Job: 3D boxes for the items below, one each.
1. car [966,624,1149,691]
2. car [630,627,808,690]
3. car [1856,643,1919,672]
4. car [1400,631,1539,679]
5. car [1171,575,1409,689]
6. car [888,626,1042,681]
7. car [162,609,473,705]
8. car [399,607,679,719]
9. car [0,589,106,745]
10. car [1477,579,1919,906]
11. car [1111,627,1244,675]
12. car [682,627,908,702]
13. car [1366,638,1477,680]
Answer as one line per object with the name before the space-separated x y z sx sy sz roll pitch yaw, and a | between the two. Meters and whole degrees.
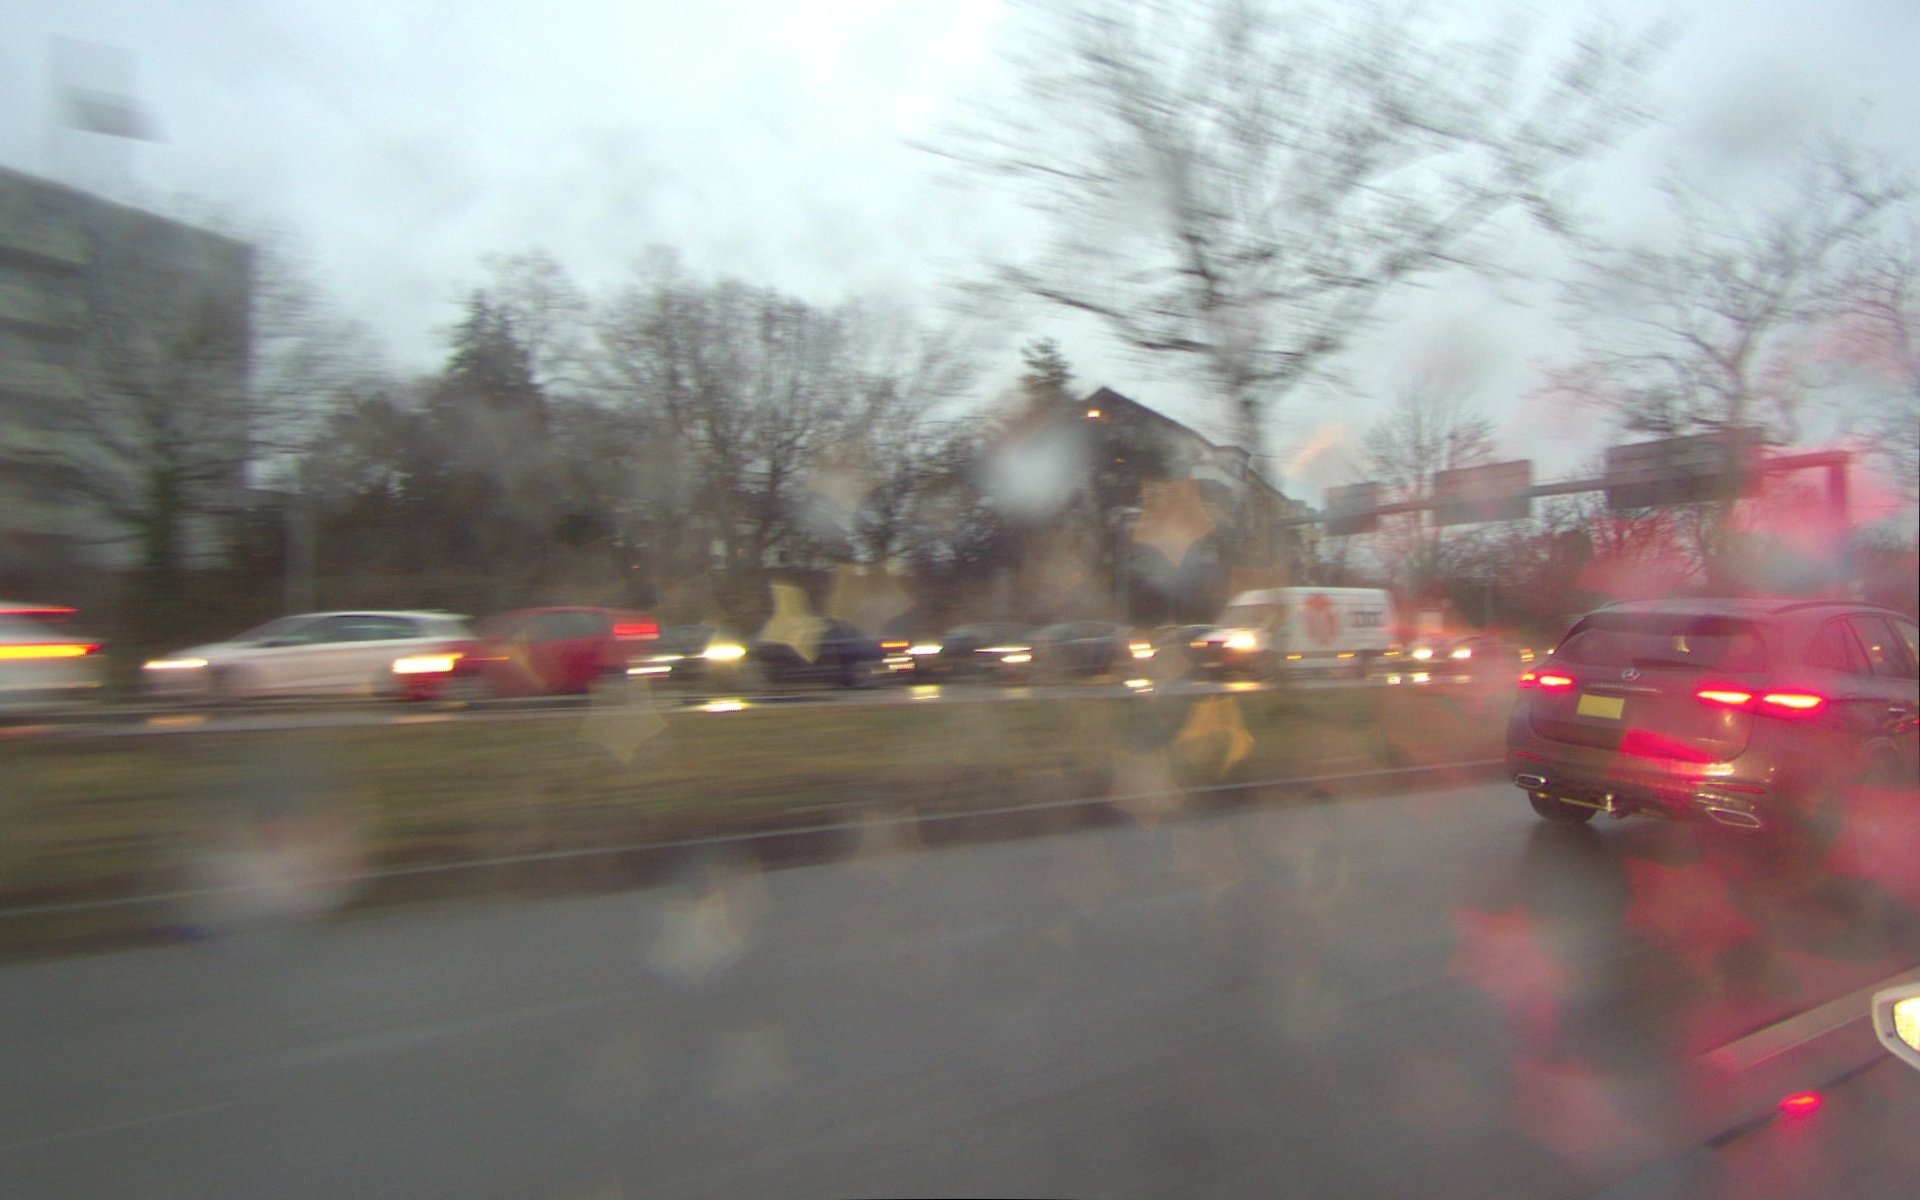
car | 2.496 1.405 25.394 4.391 1.557 1.762 1 -1 -29
car | -5.932 1.413 24.839 3.953 1.416 1.748 2 -2 -30
car | 64.203 3.954 69.429 4.372 1.876 1.985 1 0 -29
car | 17.110 1.839 33.718 4.396 1.466 1.898 2 -1 -25
car | 9.847 0.979 29.726 7.256 3.044 2.282 2 0 -29
car | 0.165 1.459 27.863 3.953 1.416 1.748 2 -2 -30
car | -11.049 0.950 17.637 4.388 1.515 1.761 1 -2 -31
car | -6.775 0.964 16.240 3.986 1.607 1.761 1 -1 -31
car | -11.656 0.647 9.801 4.784 1.557 1.761 1 -2 -31
car | 5.801 0.801 7.064 4.415 1.669 1.813 2 -2 -31
car | 6.799 1.576 31.329 3.953 1.416 1.748 2 -2 -30
car | -3.585 1.360 22.085 4.595 1.509 1.761 1 -2 -31
car | 17.642 2.248 38.380 4.041 1.466 1.895 2 -1 -30
